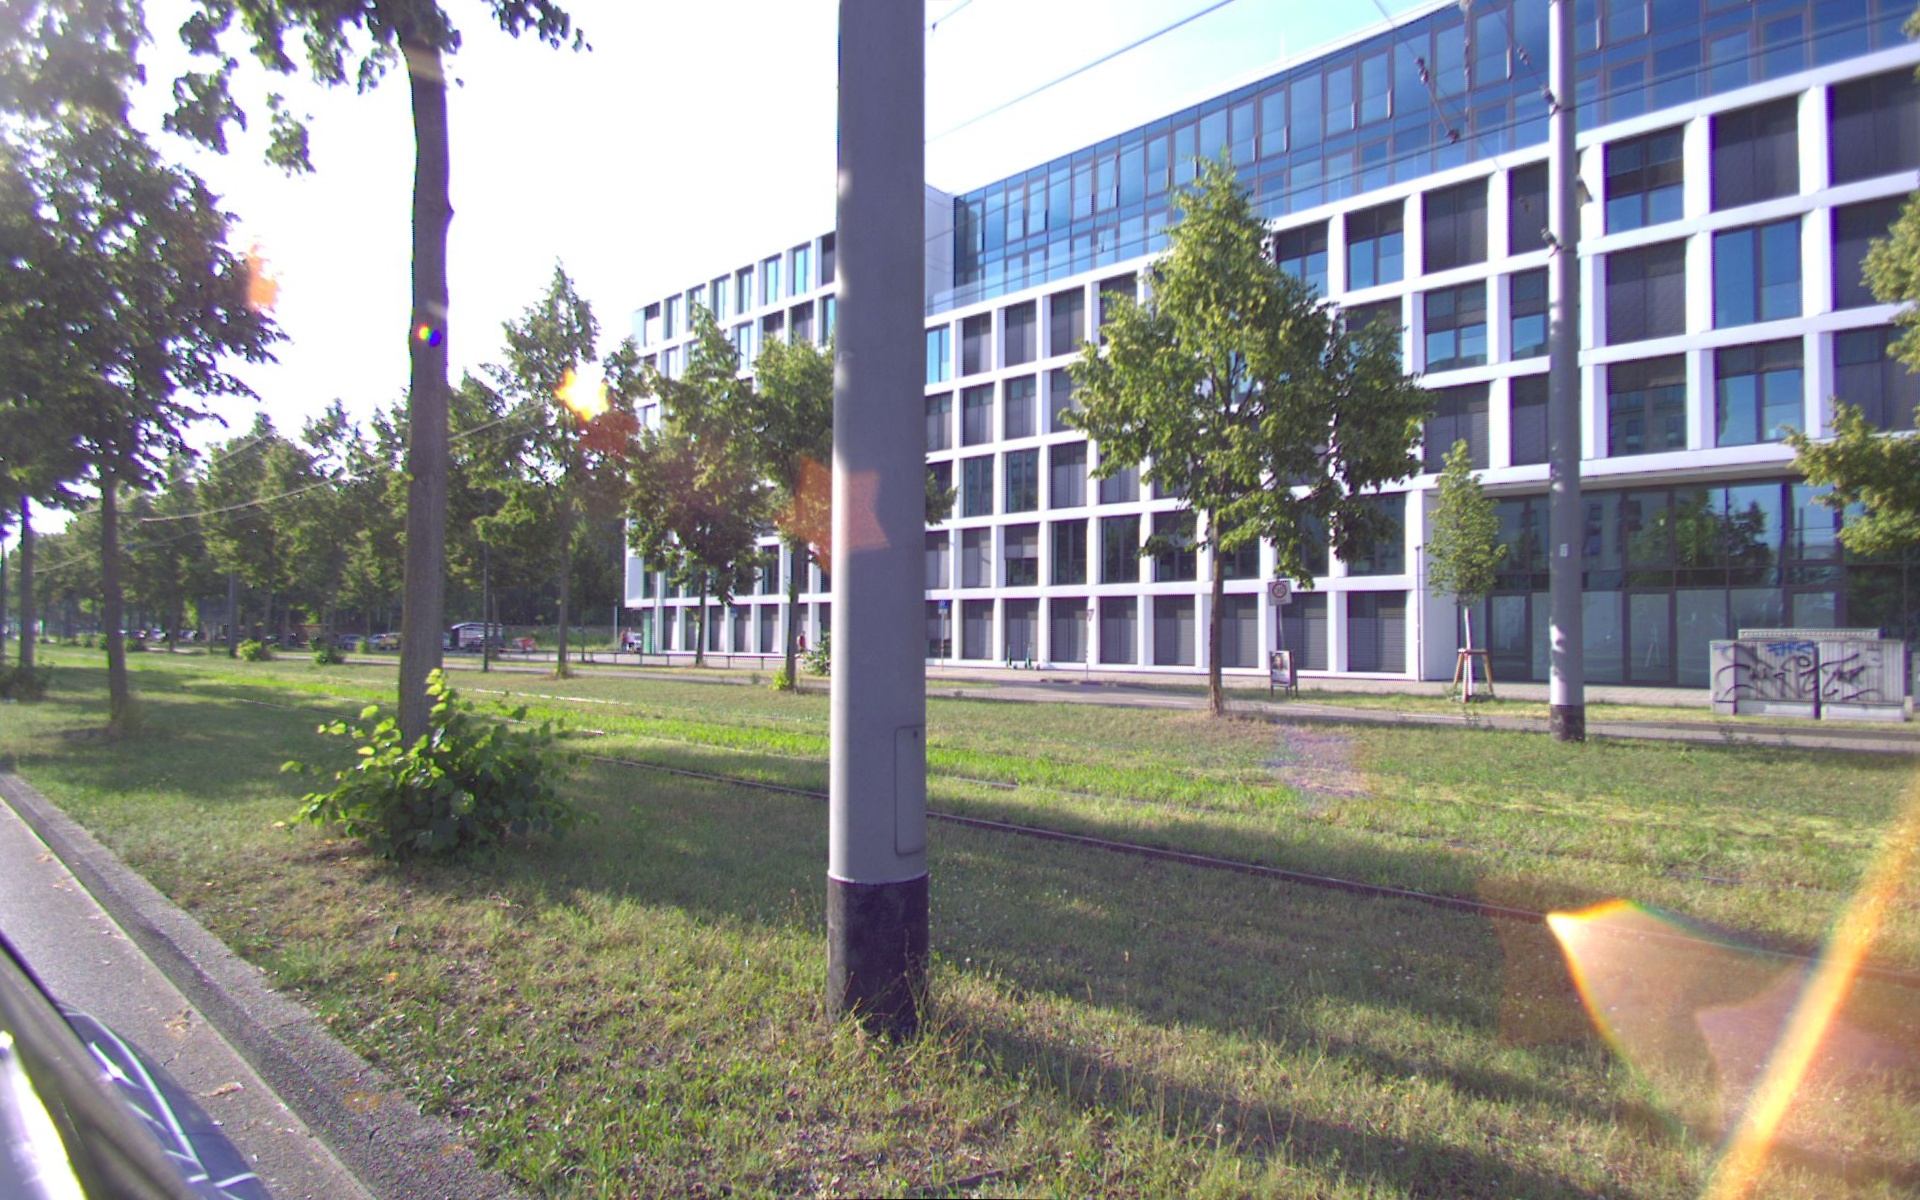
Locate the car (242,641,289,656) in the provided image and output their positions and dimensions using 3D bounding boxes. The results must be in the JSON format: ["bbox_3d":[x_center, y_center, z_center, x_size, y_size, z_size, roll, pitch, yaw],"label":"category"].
[{"bbox_3d":[-69.730,4.856,101.575,3.995,1.446,1.680,-1,0,13],"label":"car"}]

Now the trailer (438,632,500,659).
[{"bbox_3d":[-40.746,3.742,84.024,1.759,2.069,4.314,-1,0,45],"label":"trailer"}]

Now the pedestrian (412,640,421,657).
[{"bbox_3d":[-46.500,4.141,86.535,0.568,1.491,0.516,-1,-1,41],"label":"pedestrian"}]

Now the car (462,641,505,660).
[{"bbox_3d":[-38.172,4.010,80.992,3.757,1.404,1.663,-1,0,39],"label":"car"}]

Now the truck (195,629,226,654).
[{"bbox_3d":[-113.353,6.196,153.077,2.854,3.542,7.951,-1,0,-43],"label":"truck"}]

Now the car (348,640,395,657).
[{"bbox_3d":[-56.955,4.652,97.990,1.810,1.439,3.606,-1,0,44],"label":"car"}]

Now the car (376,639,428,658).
[{"bbox_3d":[-52.480,4.528,95.182,1.856,1.572,3.942,-1,0,44],"label":"car"}]

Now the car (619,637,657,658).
[{"bbox_3d":[-27.310,4.042,85.887,1.824,1.608,4.009,-1,0,-37],"label":"car"}]

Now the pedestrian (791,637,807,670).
[{"bbox_3d":[-8.759,2.889,55.016,0.691,1.741,0.561,-1,-1,42],"label":"pedestrian"}]

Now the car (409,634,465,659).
[{"bbox_3d":[-45.286,3.974,87.714,1.757,1.962,3.949,-1,0,42],"label":"car"}]

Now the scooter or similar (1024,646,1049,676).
[{"bbox_3d":[3.364,2.689,44.760,0.331,1.235,1.302,-1,0,-35],"label":"scooter or similar"}]

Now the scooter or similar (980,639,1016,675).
[{"bbox_3d":[1.724,2.566,45.782,1.906,1.488,0.415,-1,0,-45],"label":"scooter or similar"}]

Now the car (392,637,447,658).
[{"bbox_3d":[-47.744,4.199,89.495,1.757,1.655,3.949,-1,0,42],"label":"car"}]

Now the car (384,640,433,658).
[{"bbox_3d":[-49.993,4.442,91.743,1.726,1.436,3.529,-1,0,42],"label":"car"}]

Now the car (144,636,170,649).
[{"bbox_3d":[-97.030,5.109,122.275,4.475,1.442,1.810,-1,0,43],"label":"car"}]

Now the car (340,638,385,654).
[{"bbox_3d":[-61.279,4.676,103.816,3.810,1.497,1.746,-1,0,-41],"label":"car"}]

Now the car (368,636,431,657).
[{"bbox_3d":[-53.759,4.451,97.173,1.886,1.748,5.003,-1,0,44],"label":"car"}]
